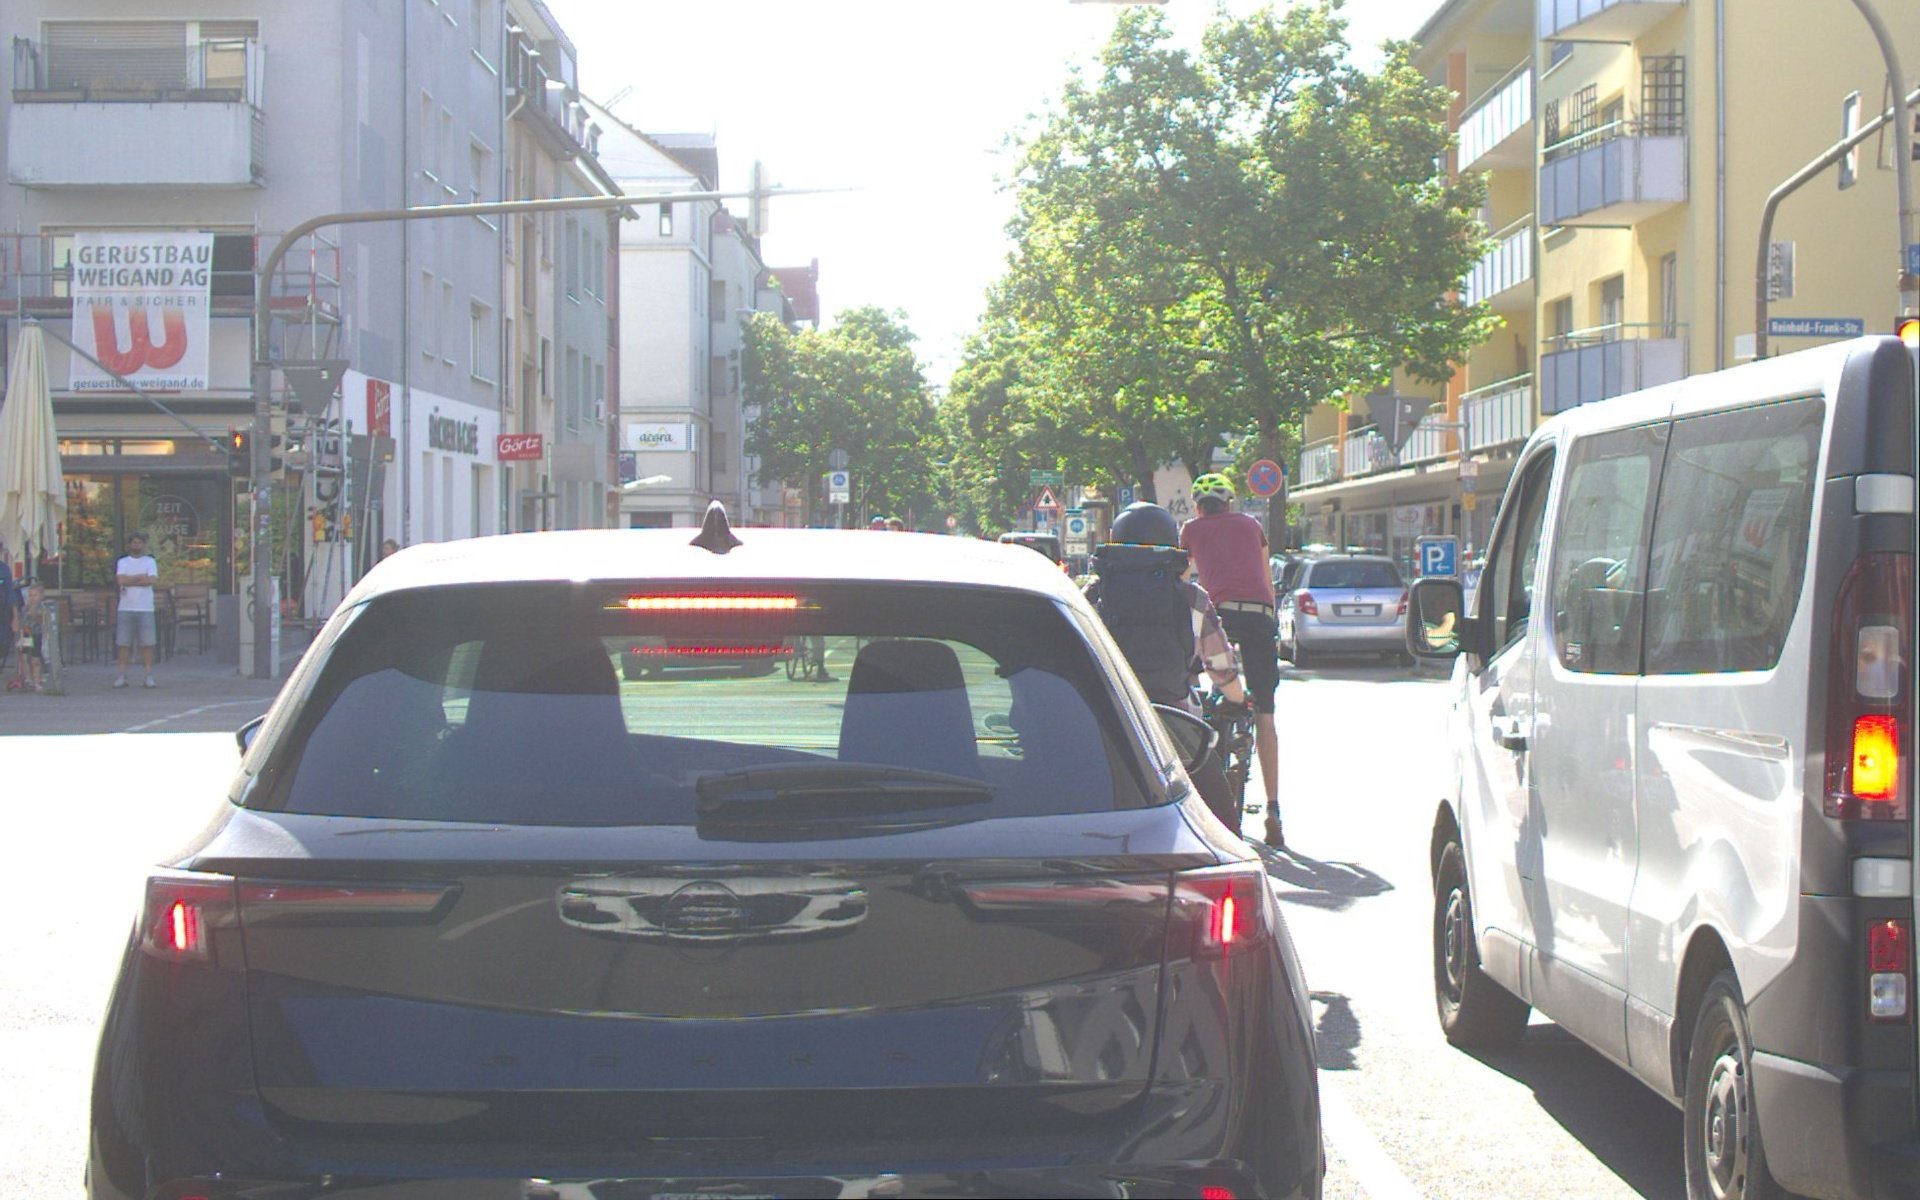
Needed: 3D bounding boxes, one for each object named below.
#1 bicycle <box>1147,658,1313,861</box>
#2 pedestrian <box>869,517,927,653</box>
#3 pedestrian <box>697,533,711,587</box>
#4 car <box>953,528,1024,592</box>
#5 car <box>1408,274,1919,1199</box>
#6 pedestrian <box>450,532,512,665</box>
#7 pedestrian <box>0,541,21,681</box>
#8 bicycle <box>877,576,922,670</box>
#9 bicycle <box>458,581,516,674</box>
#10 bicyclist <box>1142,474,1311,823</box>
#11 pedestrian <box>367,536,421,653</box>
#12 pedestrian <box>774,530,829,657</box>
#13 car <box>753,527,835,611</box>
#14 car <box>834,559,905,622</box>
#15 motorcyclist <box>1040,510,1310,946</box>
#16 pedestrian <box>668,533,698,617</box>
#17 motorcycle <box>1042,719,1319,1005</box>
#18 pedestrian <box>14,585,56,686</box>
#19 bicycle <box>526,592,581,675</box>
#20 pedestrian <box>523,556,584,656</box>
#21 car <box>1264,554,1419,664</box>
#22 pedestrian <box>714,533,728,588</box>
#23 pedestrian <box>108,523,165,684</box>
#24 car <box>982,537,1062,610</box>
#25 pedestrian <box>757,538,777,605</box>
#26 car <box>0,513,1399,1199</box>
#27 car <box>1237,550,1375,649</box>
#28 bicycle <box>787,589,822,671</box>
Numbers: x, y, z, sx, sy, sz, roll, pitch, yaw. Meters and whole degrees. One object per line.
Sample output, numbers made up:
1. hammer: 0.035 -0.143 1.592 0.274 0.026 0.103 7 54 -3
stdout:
1. bicycle: 1.359 0.788 17.683 0.577 0.901 2.301 0 1 -2
2. pedestrian: -0.785 -0.193 43.425 0.707 1.695 0.802 0 1 -2
3. pedestrian: -7.830 -1.223 105.051 0.402 1.669 0.418 0 1 -1
4. car: 0.761 -1.103 93.944 1.902 1.722 4.000 0 1 0
5. car: 2.452 0.418 8.336 1.993 1.972 4.895 2 1 0
6. pedestrian: -6.076 -0.028 43.635 0.707 1.672 0.802 0 1 -2
7. pedestrian: -10.602 0.112 37.453 0.584 1.516 0.650 0 1 -3
8. bicycle: -0.772 0.276 43.482 0.521 1.143 2.170 0 1 -2
9. bicycle: -6.044 0.335 44.005 0.521 1.143 2.284 0 1 -2
10. bicyclist: 1.343 0.228 17.546 0.689 1.707 1.414 0 1 -2
11. pedestrian: -7.394 -0.083 44.934 0.617 1.516 0.725 0 1 -3
12. pedestrian: -2.018 -0.093 43.801 0.680 1.600 0.762 0 1 -2
13. car: -4.057 -0.774 84.464 1.855 2.007 3.881 0 1 -1
14. car: -2.544 -0.297 97.313 1.825 1.722 4.000 0 1 1
15. motorcyclist: 0.753 0.432 12.384 0.864 1.497 1.160 0 1 -2
16. pedestrian: -5.600 -0.501 69.482 0.570 1.684 0.588 0 1 -1
17. motorcycle: 0.745 0.892 12.206 0.825 0.842 1.885 0 1 -1
18. pedestrian: -10.081 0.383 37.469 0.355 1.088 0.462 0 1 -3
19. bicycle: -5.187 0.414 43.949 0.521 0.989 2.340 0 1 -2
20. pedestrian: -5.158 0.068 43.610 0.707 1.249 0.802 0 1 -2
21. car: 5.199 0.095 47.254 1.634 1.428 3.957 0 1 -1
22. pedestrian: -7.269 -1.207 104.646 0.402 1.669 0.418 0 1 -1
23. pedestrian: -9.112 0.036 38.070 0.561 1.769 0.584 0 1 -9
24. car: 1.481 -0.674 83.761 1.902 1.722 4.073 0 1 0
25. pedestrian: -4.839 -0.722 86.265 0.488 1.684 0.588 0 1 -1
26. car: -0.417 0.619 6.298 1.770 1.525 4.001 0 1 -2
27. car: 5.184 -0.035 51.879 1.634 1.428 4.000 0 1 -1
28. bicycle: -1.980 0.371 43.885 0.443 0.989 2.069 0 1 -2
